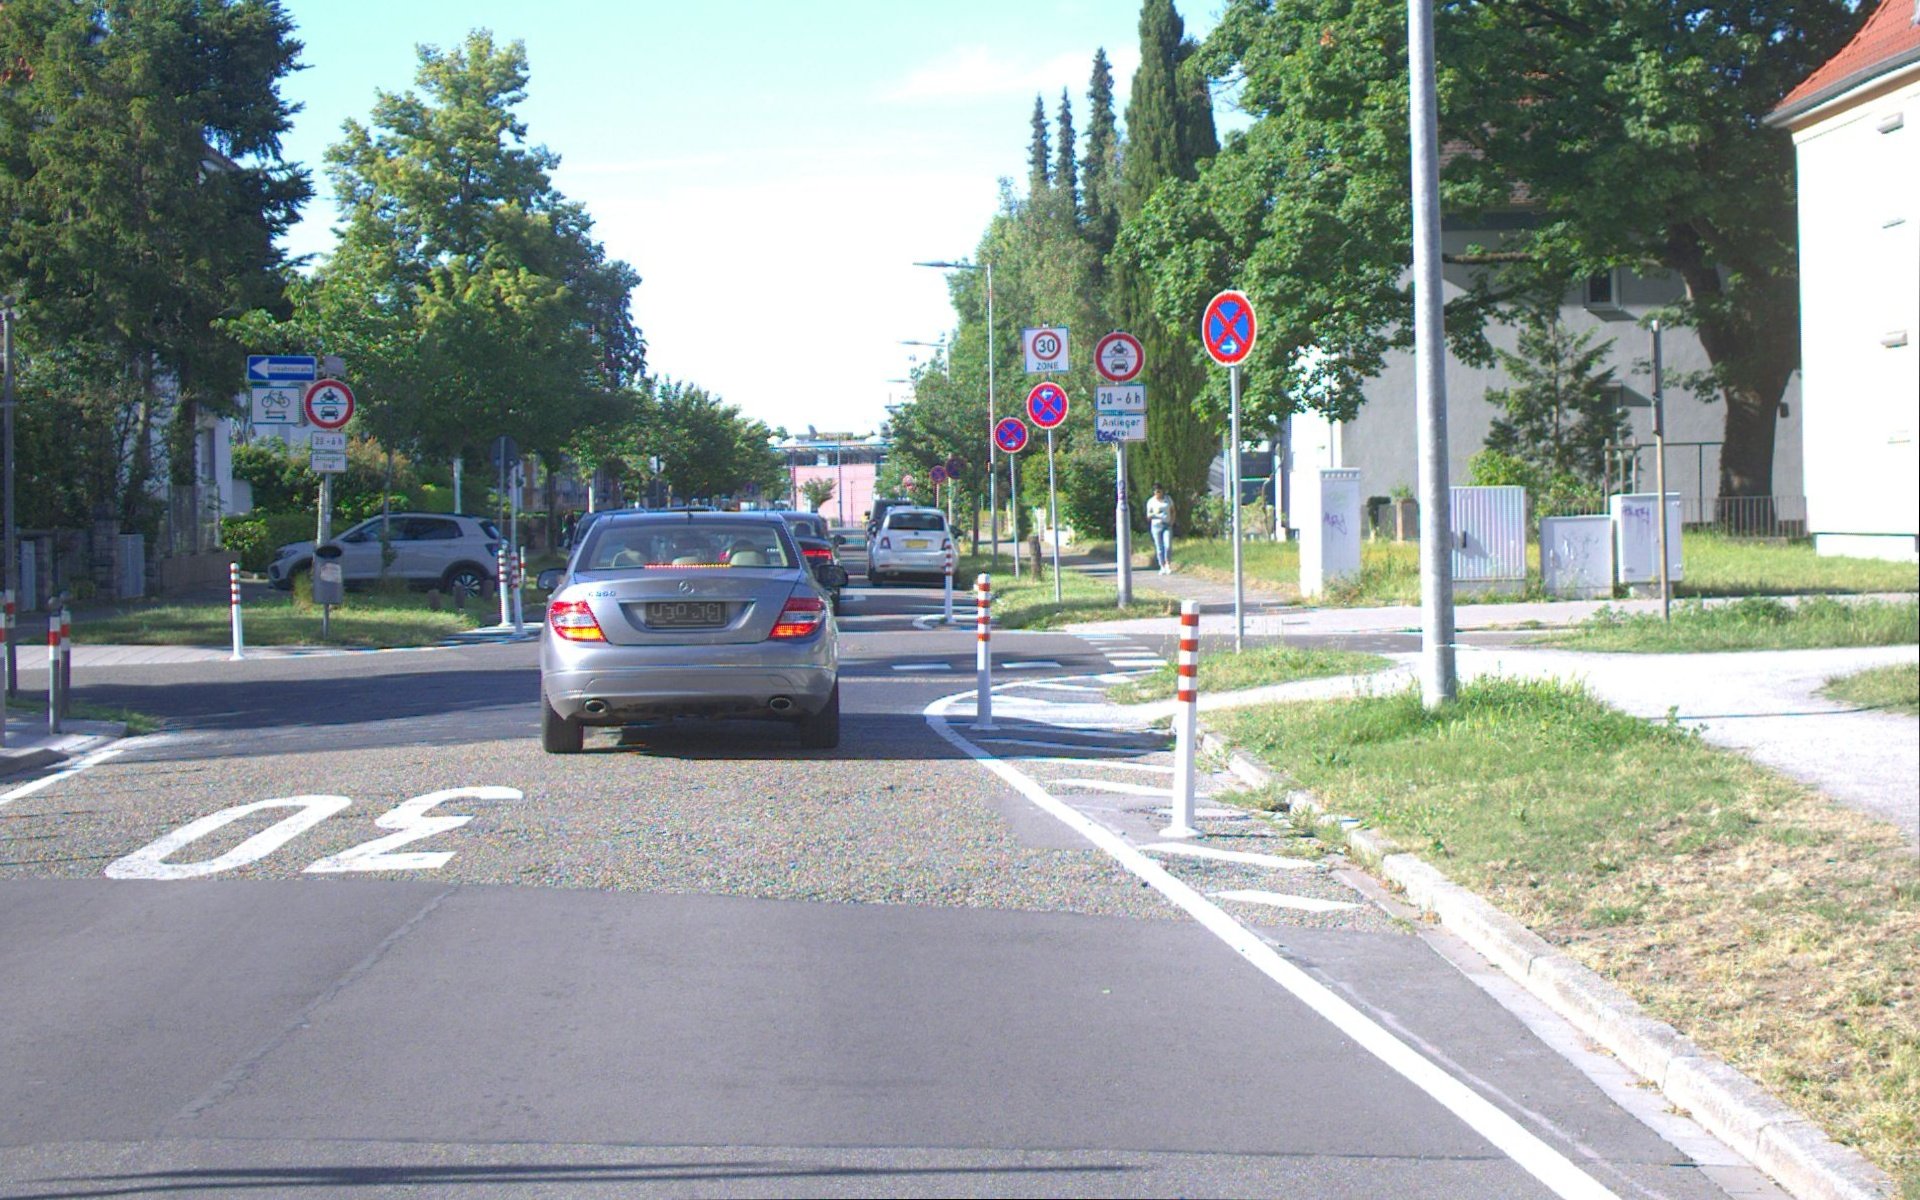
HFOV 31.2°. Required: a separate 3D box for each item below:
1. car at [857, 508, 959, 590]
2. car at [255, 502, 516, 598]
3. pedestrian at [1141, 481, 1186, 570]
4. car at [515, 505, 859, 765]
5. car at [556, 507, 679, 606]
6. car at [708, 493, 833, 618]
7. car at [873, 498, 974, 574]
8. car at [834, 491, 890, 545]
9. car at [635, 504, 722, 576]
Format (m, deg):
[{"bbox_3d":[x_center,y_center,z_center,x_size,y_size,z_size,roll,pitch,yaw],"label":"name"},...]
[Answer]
[{"bbox_3d":[-1.026,-1.004,65.898,1.733,1.474,3.726,-2,2,-4],"label":"car"},{"bbox_3d":[-9.687,-0.862,58.201,4.191,1.558,1.842,-1,1,-4],"label":"car"},{"bbox_3d":[3.719,-1.363,62.811,0.766,1.605,0.834,-1,1,3],"label":"pedestrian"},{"bbox_3d":[-1.589,0.146,21.271,1.836,1.436,4.000,-1,1,-1],"label":"car"},{"bbox_3d":[-6.280,-0.834,63.447,1.993,1.604,4.001,-5,2,-4],"label":"car"},{"bbox_3d":[-2.613,-0.646,47.141,1.597,1.604,3.644,-2,2,-4],"label":"car"},{"bbox_3d":[-0.838,-1.444,76.706,1.993,1.604,4.001,-2,2,-4],"label":"car"},{"bbox_3d":[-3.488,-2.911,121.701,1.854,1.834,4.001,-2,2,-2],"label":"car"},{"bbox_3d":[-7.082,-1.535,86.854,1.993,1.604,4.001,-5,2,-4],"label":"car"}]
